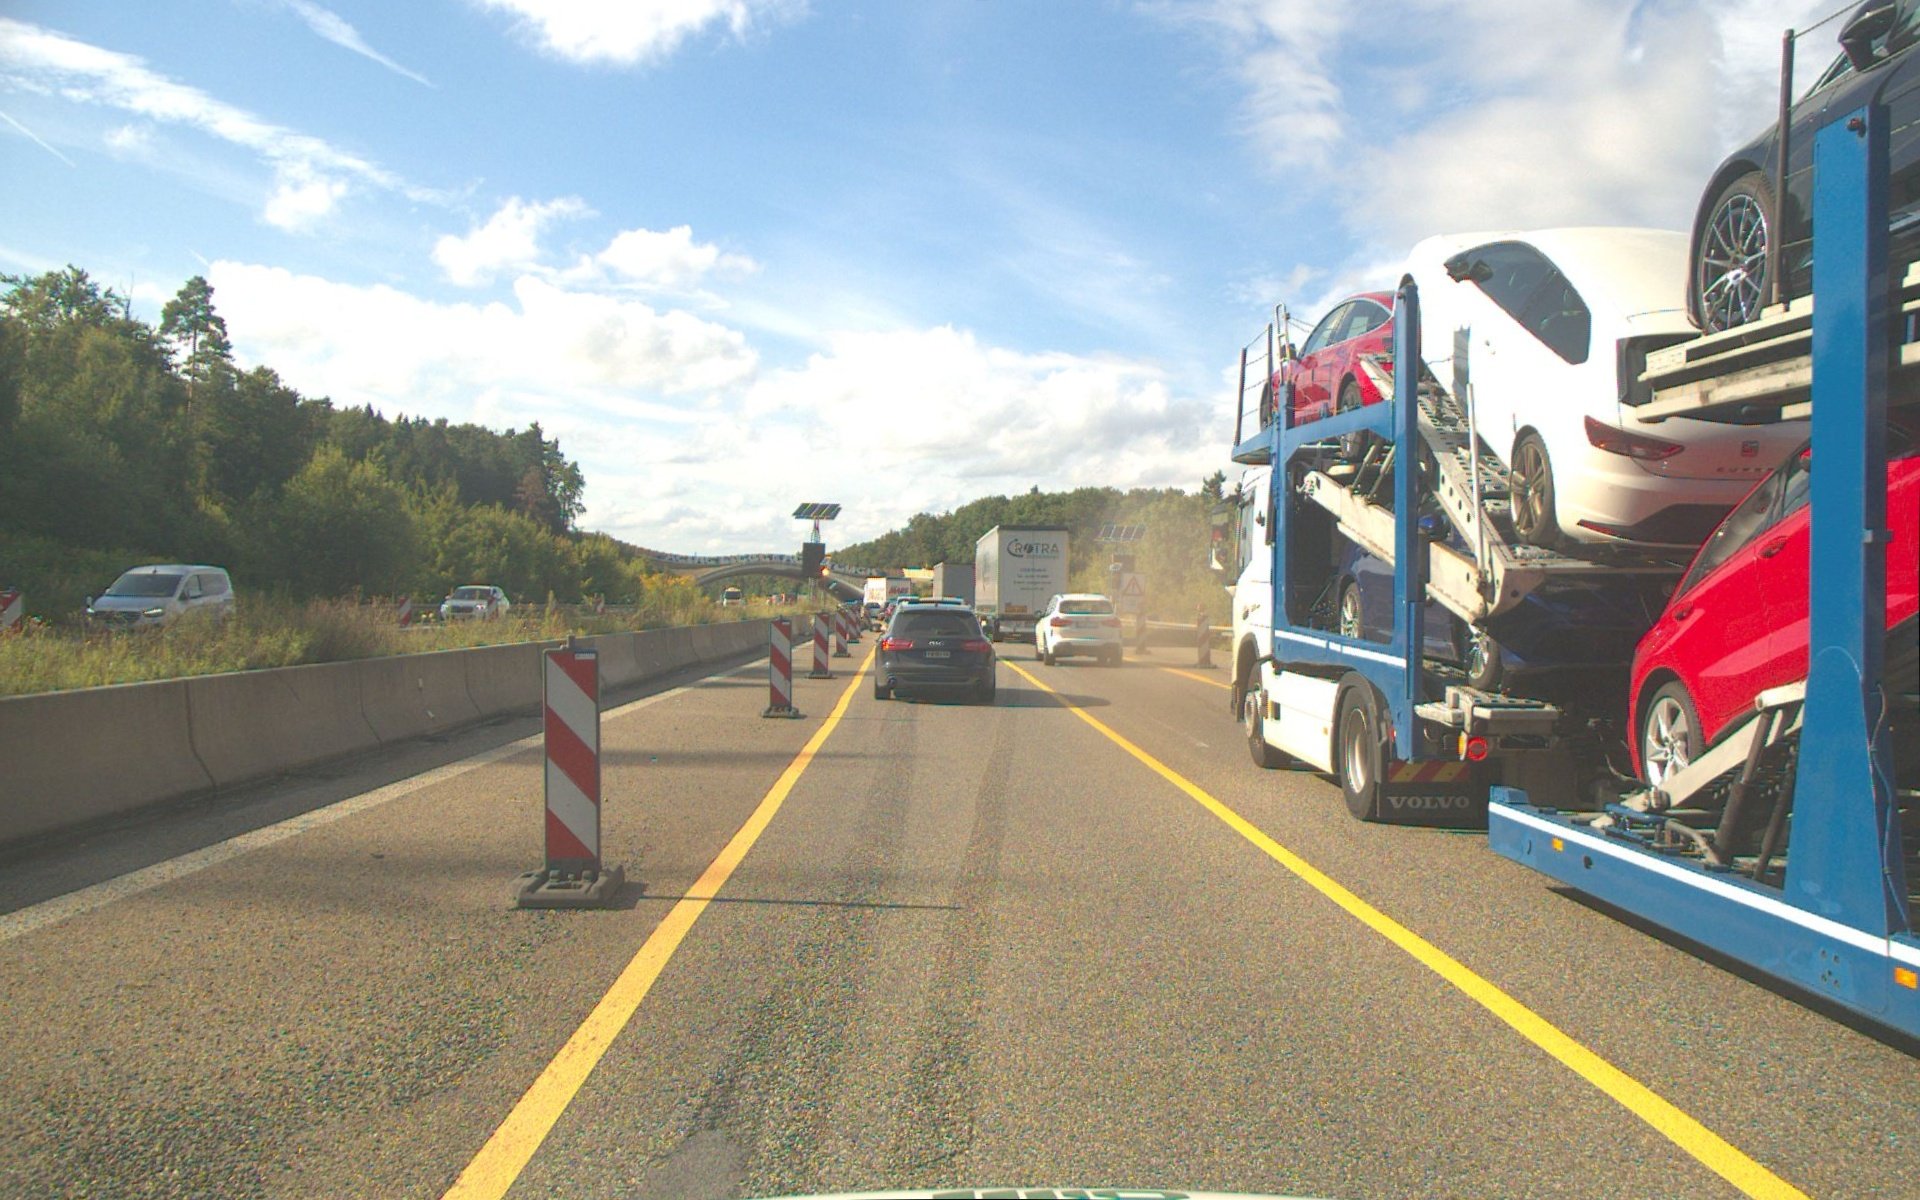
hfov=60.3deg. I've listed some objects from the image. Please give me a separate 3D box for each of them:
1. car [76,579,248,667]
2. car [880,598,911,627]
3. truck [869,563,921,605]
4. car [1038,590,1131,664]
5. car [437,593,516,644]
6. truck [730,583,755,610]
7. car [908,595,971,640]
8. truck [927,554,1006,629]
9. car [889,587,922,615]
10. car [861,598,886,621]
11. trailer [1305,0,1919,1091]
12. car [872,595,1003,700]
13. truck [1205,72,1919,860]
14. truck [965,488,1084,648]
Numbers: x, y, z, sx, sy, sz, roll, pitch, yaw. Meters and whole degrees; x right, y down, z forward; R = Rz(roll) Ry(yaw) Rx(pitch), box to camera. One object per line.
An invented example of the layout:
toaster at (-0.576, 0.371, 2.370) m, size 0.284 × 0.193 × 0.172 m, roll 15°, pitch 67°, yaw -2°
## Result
car at (-17.727, 0.488, 36.981) m, size 1.742 × 1.817 × 4.364 m, roll 1°, pitch 0°, yaw -1°
car at (-4.792, 0.901, 122.012) m, size 1.955 × 2.049 × 3.994 m, roll 1°, pitch 0°, yaw -6°
truck at (-6.742, -1.573, 168.797) m, size 3.589 × 3.997 × 11.037 m, roll 1°, pitch 0°, yaw -11°
car at (2.966, 0.634, 40.116) m, size 1.852 × 1.672 × 4.017 m, roll 1°, pitch 0°, yaw -1°
car at (-18.188, 0.700, 62.366) m, size 1.742 × 1.817 × 4.364 m, roll 1°, pitch 0°, yaw -1°
truck at (-29.577, -0.475, 225.303) m, size 2.728 × 3.551 × 4.938 m, roll 1°, pitch 0°, yaw -1°
car at (-0.737, 0.607, 57.763) m, size 1.854 × 1.472 × 3.995 m, roll 1°, pitch 0°, yaw -6°
truck at (0.296, -0.504, 111.359) m, size 4.235 × 4.681 × 11.112 m, roll 1°, pitch 0°, yaw -5°
car at (-3.503, 0.076, 105.121) m, size 1.853 × 1.672 × 4.013 m, roll 1°, pitch 0°, yaw -5°
car at (-8.011, 0.864, 152.896) m, size 1.956 × 2.049 × 3.992 m, roll 1°, pitch 0°, yaw -8°
trailer at (4.708, -0.646, 4.762) m, size 3.651 × 4.270 × 16.222 m, roll 1°, pitch 0°, yaw -1°
car at (-0.358, 0.697, 25.773) m, size 1.852 × 1.472 × 3.999 m, roll 1°, pitch 0°, yaw -1°
truck at (4.520, -0.695, 13.074) m, size 3.685 × 4.270 × 7.947 m, roll 1°, pitch 0°, yaw -2°
truck at (2.269, -1.068, 65.363) m, size 3.603 × 5.447 × 16.196 m, roll 1°, pitch 0°, yaw -1°
